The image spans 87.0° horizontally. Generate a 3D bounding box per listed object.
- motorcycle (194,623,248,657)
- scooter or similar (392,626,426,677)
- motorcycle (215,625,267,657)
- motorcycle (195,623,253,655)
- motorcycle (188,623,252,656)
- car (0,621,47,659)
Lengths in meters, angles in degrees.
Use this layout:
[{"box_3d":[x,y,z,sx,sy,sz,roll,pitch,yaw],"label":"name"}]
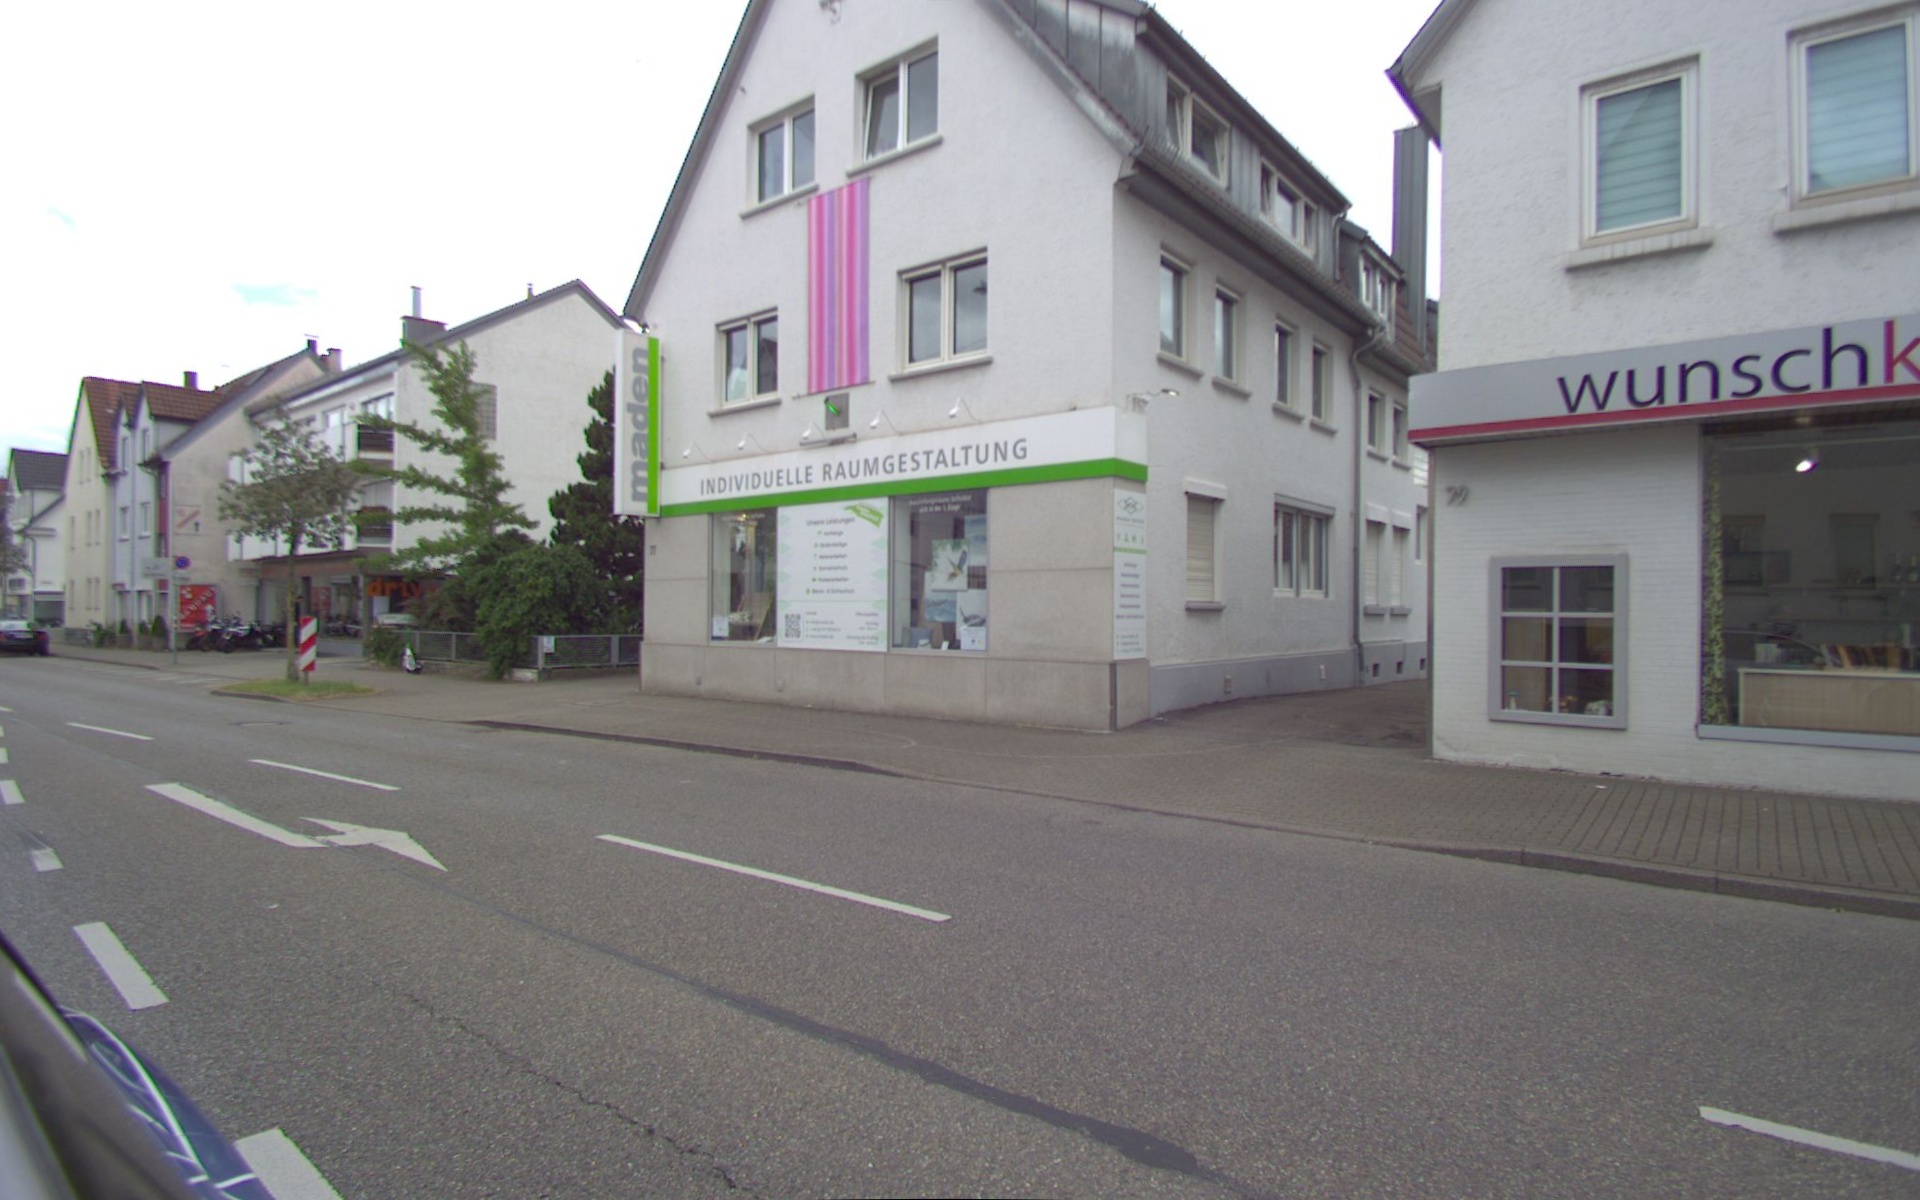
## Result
[{"box_3d":[-26.381,1.426,36.138,1.494,1.114,0.590,-2,0,-44],"label":"motorcycle"},{"box_3d":[-12.885,1.190,23.649,0.458,1.132,1.832,0,-1,-35],"label":"scooter or similar"},{"box_3d":[-25.530,1.446,35.963,0.525,1.030,1.411,-1,0,40],"label":"motorcycle"},{"box_3d":[-27.358,1.435,37.648,0.558,1.114,1.657,-1,0,40],"label":"motorcycle"},{"box_3d":[-26.959,1.432,36.909,0.504,1.114,1.811,-1,0,40],"label":"motorcycle"},{"box_3d":[-37.033,1.526,39.286,3.993,1.423,1.614,-1,-3,37],"label":"car"}]
